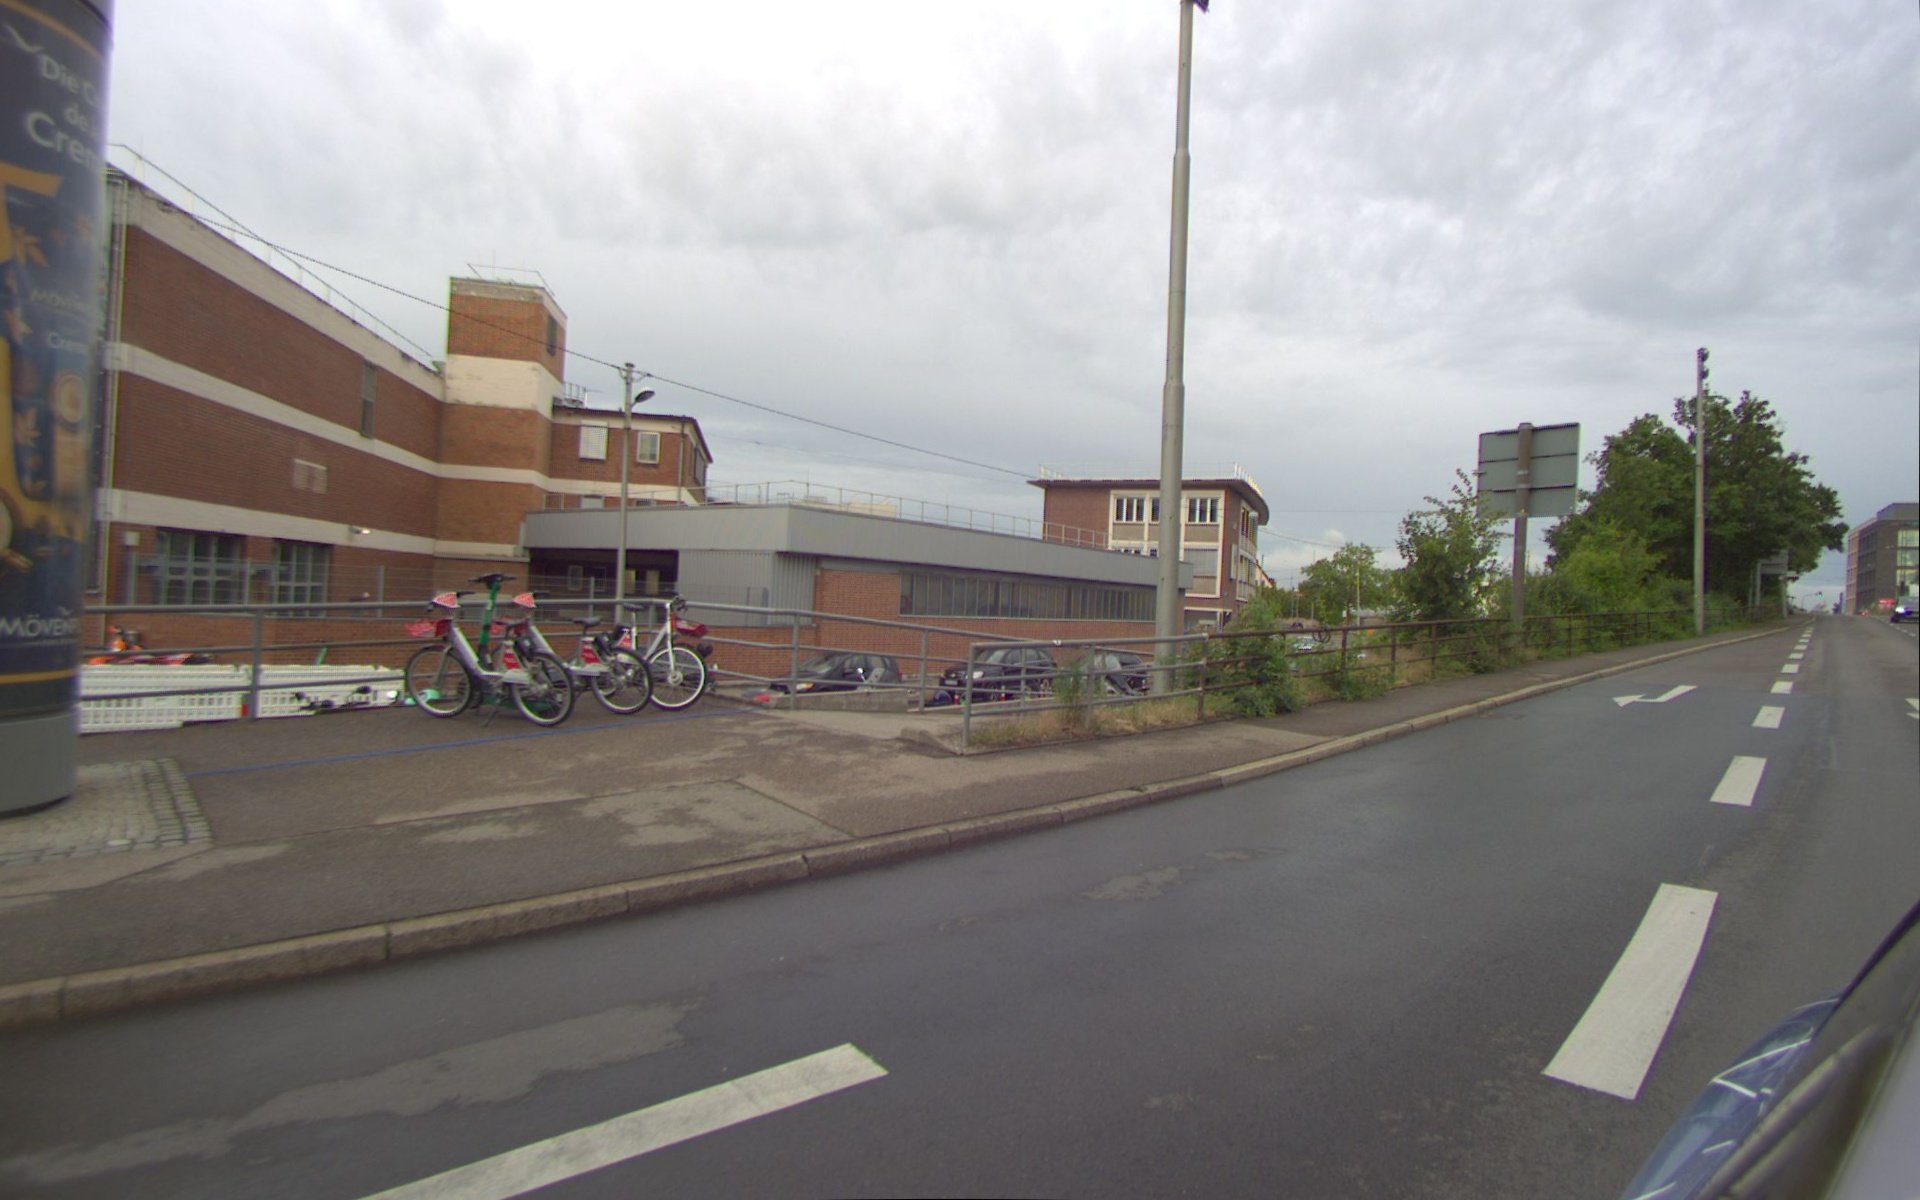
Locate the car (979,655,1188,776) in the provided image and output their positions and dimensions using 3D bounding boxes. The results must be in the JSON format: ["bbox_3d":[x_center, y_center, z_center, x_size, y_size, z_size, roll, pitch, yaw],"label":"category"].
[{"bbox_3d":[2.187,1.834,17.172,1.696,1.574,3.799,1,1,41],"label":"car"}]

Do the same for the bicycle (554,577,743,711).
[{"bbox_3d":[-3.107,0.390,10.040,1.914,1.192,0.594,2,1,27],"label":"bicycle"}]

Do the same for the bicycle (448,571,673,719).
[{"bbox_3d":[-3.663,0.378,9.300,1.903,1.239,0.597,2,1,13],"label":"bicycle"}]

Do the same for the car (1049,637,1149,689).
[{"bbox_3d":[4.970,2.179,35.869,1.696,1.574,3.799,1,1,41],"label":"car"}]

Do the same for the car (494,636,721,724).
[{"bbox_3d":[-7.291,1.626,21.279,1.696,1.630,4.198,-1,-3,41],"label":"car"}]

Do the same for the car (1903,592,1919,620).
[{"bbox_3d":[55.891,0.363,58.399,1.833,1.603,4.228,2,1,39],"label":"car"}]

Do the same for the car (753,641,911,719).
[{"bbox_3d":[-3.214,1.980,25.982,1.697,1.648,3.872,1,1,41],"label":"car"}]

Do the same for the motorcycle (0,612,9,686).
[{"bbox_3d":[-17.483,0.943,17.857,0.562,1.325,1.874,3,2,-30],"label":"motorcycle"}]

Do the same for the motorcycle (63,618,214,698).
[{"bbox_3d":[-15.256,1.085,18.864,1.943,1.325,0.932,3,1,-19],"label":"motorcycle"}]

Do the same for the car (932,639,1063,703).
[{"bbox_3d":[1.225,2.113,31.121,1.631,1.652,4.364,1,1,41],"label":"car"}]

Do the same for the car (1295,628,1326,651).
[{"bbox_3d":[24.719,2.780,71.361,1.651,1.413,3.964,1,0,25],"label":"car"}]

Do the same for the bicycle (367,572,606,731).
[{"bbox_3d":[-4.064,0.404,8.696,1.904,1.239,0.597,2,1,14],"label":"bicycle"}]

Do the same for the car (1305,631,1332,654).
[{"bbox_3d":[26.972,3.160,76.089,1.727,1.544,4.419,0,0,22],"label":"car"}]
